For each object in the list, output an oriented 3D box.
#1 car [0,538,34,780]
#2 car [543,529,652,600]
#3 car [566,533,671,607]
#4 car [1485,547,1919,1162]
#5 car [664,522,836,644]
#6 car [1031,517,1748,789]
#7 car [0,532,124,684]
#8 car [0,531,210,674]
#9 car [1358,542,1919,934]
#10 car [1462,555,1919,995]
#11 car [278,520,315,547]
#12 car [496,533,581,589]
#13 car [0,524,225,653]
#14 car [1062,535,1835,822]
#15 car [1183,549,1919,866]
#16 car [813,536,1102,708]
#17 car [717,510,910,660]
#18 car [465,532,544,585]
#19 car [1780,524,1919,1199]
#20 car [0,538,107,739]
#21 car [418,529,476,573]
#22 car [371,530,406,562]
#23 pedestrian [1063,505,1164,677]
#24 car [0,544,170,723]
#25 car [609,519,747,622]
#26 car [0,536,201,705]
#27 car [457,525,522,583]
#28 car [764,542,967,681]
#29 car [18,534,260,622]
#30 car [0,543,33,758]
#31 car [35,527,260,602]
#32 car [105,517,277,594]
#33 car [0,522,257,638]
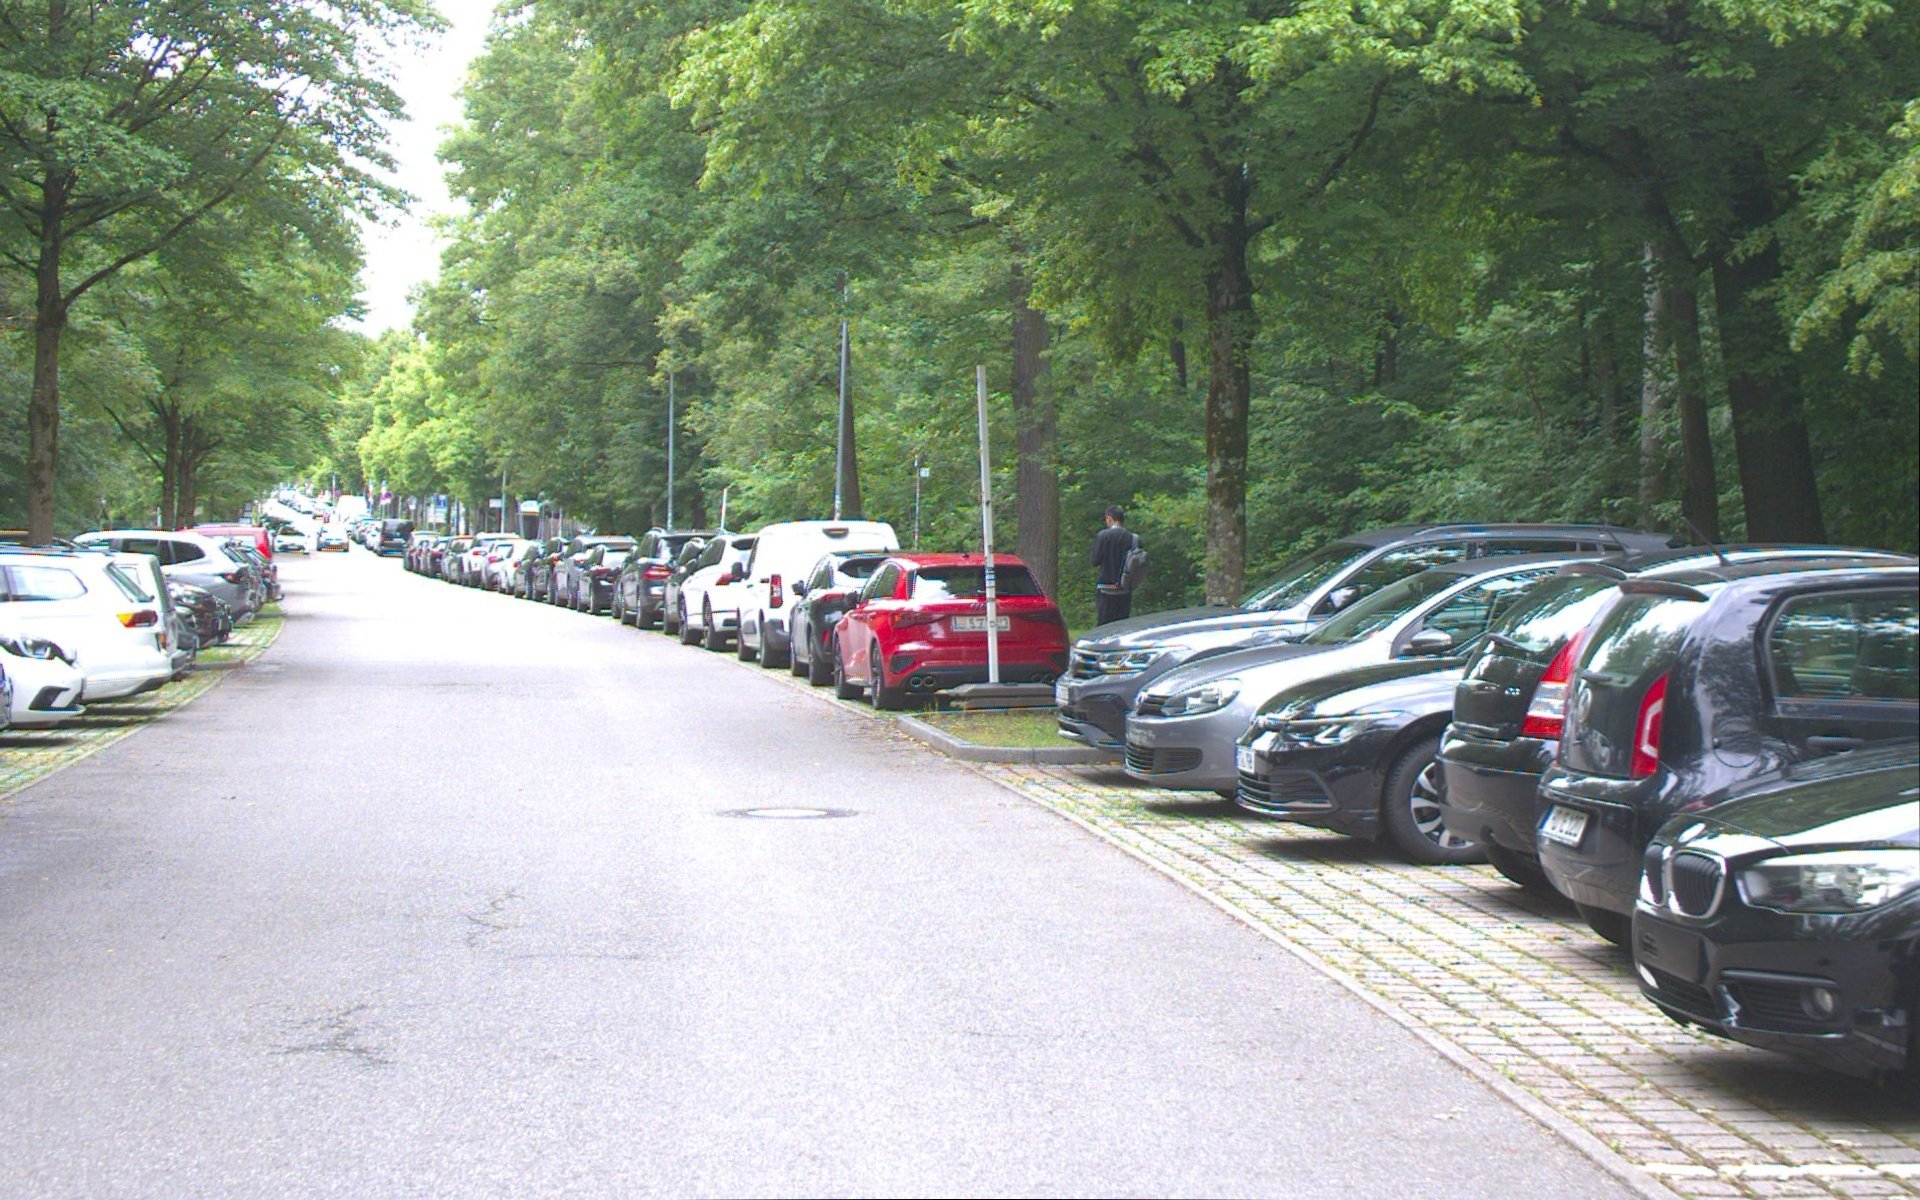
[{"bbox_3d":[-8.005,0.352,20.950,4.265,1.481,2.058,0,1,-5],"label":"car"},{"bbox_3d":[-8.155,-0.816,77.047,1.977,1.532,4.623,0,1,-12],"label":"car"},{"bbox_3d":[-7.111,-0.640,71.289,1.636,1.472,4.153,0,1,-13],"label":"car"},{"bbox_3d":[3.794,0.643,9.760,4.186,1.506,1.894,1,2,-6],"label":"car"},{"bbox_3d":[-3.070,-0.279,49.448,1.785,1.657,4.719,0,1,-12],"label":"car"},{"bbox_3d":[2.718,0.320,22.370,4.265,1.660,1.959,1,1,-6],"label":"car"},{"bbox_3d":[-10.828,0.062,35.529,4.233,1.545,1.848,0,1,-14],"label":"car"},{"bbox_3d":[-10.432,0.013,38.225,4.033,1.549,1.920,0,1,-11],"label":"car"},{"bbox_3d":[3.777,0.521,14.663,3.826,1.526,1.851,0,1,-5],"label":"car"},{"bbox_3d":[3.900,0.565,12.426,3.826,1.452,1.809,0,1,-4],"label":"car"},{"bbox_3d":[-33.816,-3.412,175.274,1.738,1.158,3.412,1,4,-10],"label":"car"},{"bbox_3d":[-11.609,-1.089,94.527,1.936,1.470,3.993,0,1,-13],"label":"car"},{"bbox_3d":[-11.565,-0.163,43.116,4.514,1.579,1.927,0,1,-10],"label":"car"},{"bbox_3d":[2.770,0.420,19.959,3.986,1.546,1.976,0,1,-12],"label":"car"},{"bbox_3d":[3.260,0.506,17.353,3.986,1.470,1.953,1,1,-5],"label":"car"},{"bbox_3d":[-0.121,0.149,32.530,1.993,1.474,4.973,0,1,-9],"label":"car"},{"bbox_3d":[-1.905,-0.229,43.345,1.744,1.774,4.553,0,1,-11],"label":"car"},{"bbox_3d":[-13.299,-1.216,100.179,1.721,1.489,3.775,0,1,-16],"label":"car"},{"bbox_3d":[3.994,0.652,7.233,4.008,1.553,1.978,1,2,-2],"label":"car"},{"bbox_3d":[-8.755,0.277,26.003,4.364,1.481,1.892,0,1,-11],"label":"car"},{"bbox_3d":[-18.633,-1.788,124.744,1.920,1.515,3.888,0,1,-10],"label":"car"},{"bbox_3d":[-29.709,-2.800,178.603,1.628,1.410,3.412,1,4,-12],"label":"car"},{"bbox_3d":[1.560,-0.095,35.130,0.817,1.720,1.004,1,1,-9],"label":"pedestrian"},{"bbox_3d":[-8.953,0.260,28.709,4.561,1.442,2.086,0,1,-12],"label":"car"},{"bbox_3d":[-5.042,-0.556,60.866,1.889,1.741,4.950,0,1,-11],"label":"car"},{"bbox_3d":[-9.253,0.168,31.036,4.561,1.481,1.870,0,1,-8],"label":"car"},{"bbox_3d":[-14.456,-1.422,105.495,1.710,1.722,4.001,0,1,-11],"label":"car"},{"bbox_3d":[-1.106,0.087,38.083,1.725,1.418,4.285,0,1,-9],"label":"car"},{"bbox_3d":[-14.461,-0.396,60.603,4.088,1.518,1.930,0,1,-13],"label":"car"},{"bbox_3d":[-8.129,0.323,23.656,3.217,1.439,1.681,0,1,-9],"label":"car"},{"bbox_3d":[-17.717,-0.781,75.143,4.730,1.590,1.960,0,1,-12],"label":"car"},{"bbox_3d":[-18.483,-1.068,82.580,3.986,1.810,2.116,0,1,-14],"label":"car"},{"bbox_3d":[-12.537,-0.314,50.505,4.223,1.627,2.030,1,1,-9],"label":"car"}]
